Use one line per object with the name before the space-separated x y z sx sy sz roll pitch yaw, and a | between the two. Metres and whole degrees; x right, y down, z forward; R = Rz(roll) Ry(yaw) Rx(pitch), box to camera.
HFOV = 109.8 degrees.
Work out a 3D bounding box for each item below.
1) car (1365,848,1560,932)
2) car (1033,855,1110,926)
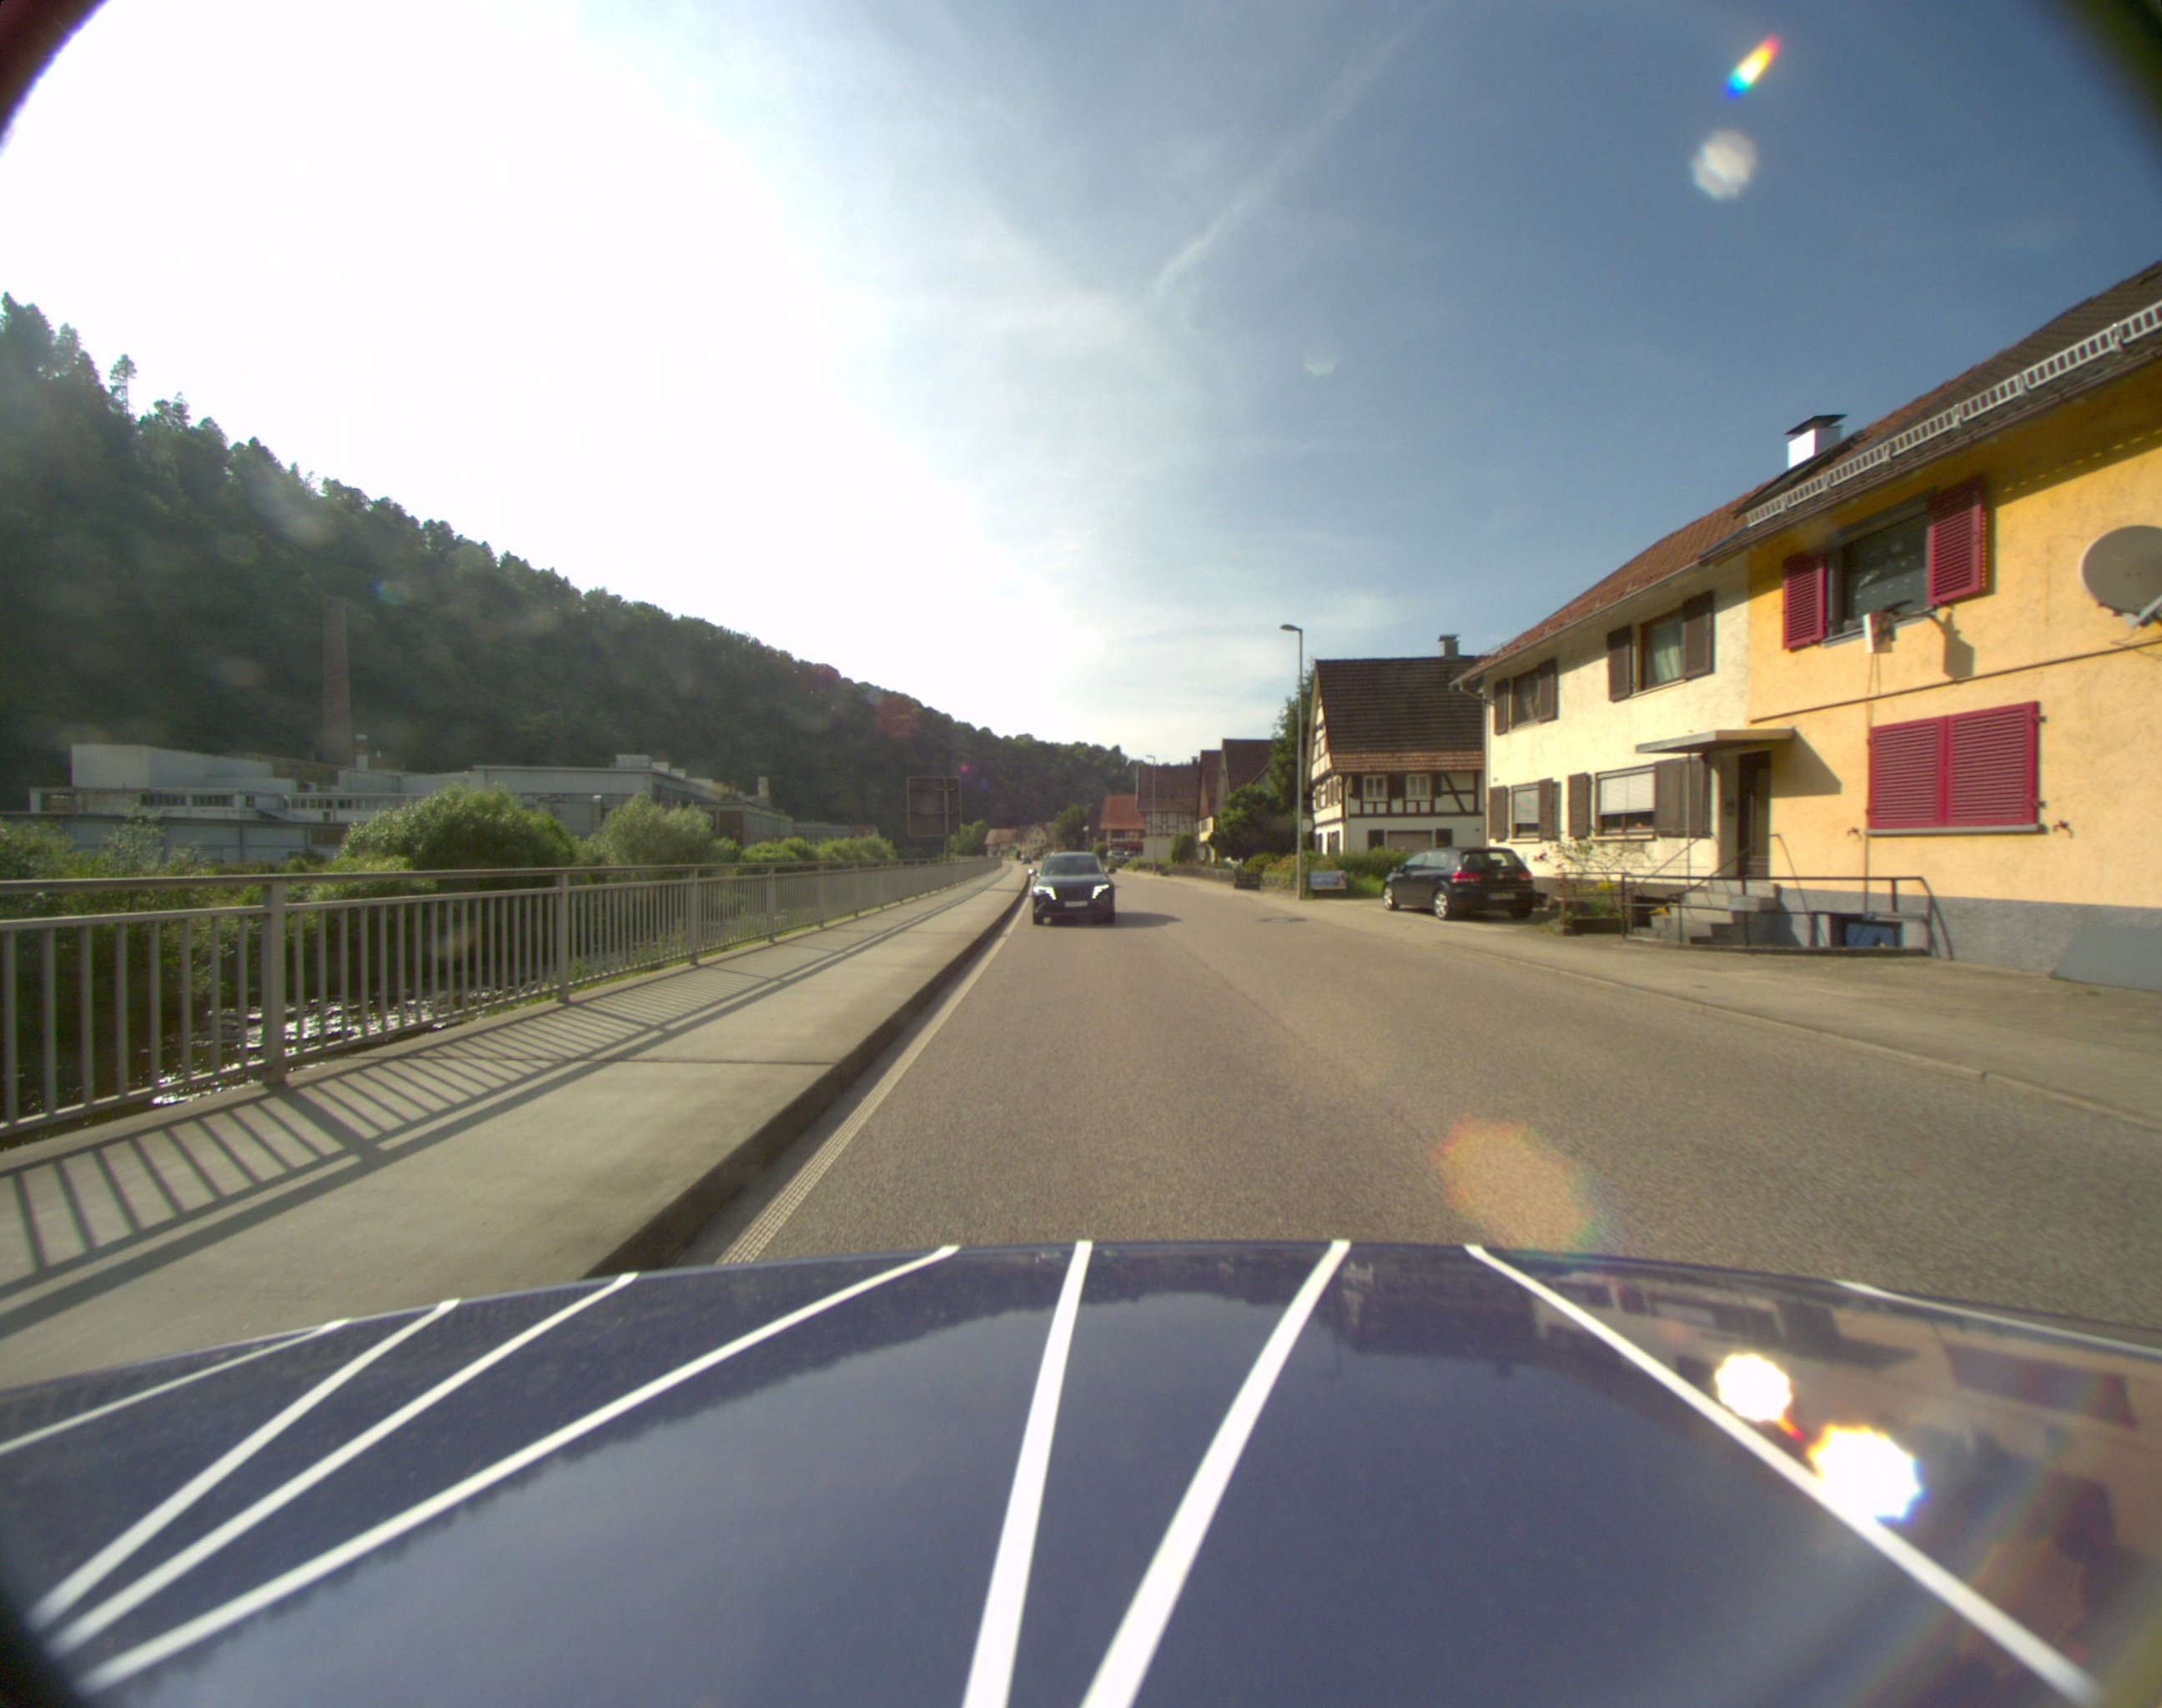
car | 7.948 0.677 16.359 1.889 1.510 4.235 -2 0 -3
car | -0.338 0.843 19.685 1.650 1.639 3.998 0 0 -6
